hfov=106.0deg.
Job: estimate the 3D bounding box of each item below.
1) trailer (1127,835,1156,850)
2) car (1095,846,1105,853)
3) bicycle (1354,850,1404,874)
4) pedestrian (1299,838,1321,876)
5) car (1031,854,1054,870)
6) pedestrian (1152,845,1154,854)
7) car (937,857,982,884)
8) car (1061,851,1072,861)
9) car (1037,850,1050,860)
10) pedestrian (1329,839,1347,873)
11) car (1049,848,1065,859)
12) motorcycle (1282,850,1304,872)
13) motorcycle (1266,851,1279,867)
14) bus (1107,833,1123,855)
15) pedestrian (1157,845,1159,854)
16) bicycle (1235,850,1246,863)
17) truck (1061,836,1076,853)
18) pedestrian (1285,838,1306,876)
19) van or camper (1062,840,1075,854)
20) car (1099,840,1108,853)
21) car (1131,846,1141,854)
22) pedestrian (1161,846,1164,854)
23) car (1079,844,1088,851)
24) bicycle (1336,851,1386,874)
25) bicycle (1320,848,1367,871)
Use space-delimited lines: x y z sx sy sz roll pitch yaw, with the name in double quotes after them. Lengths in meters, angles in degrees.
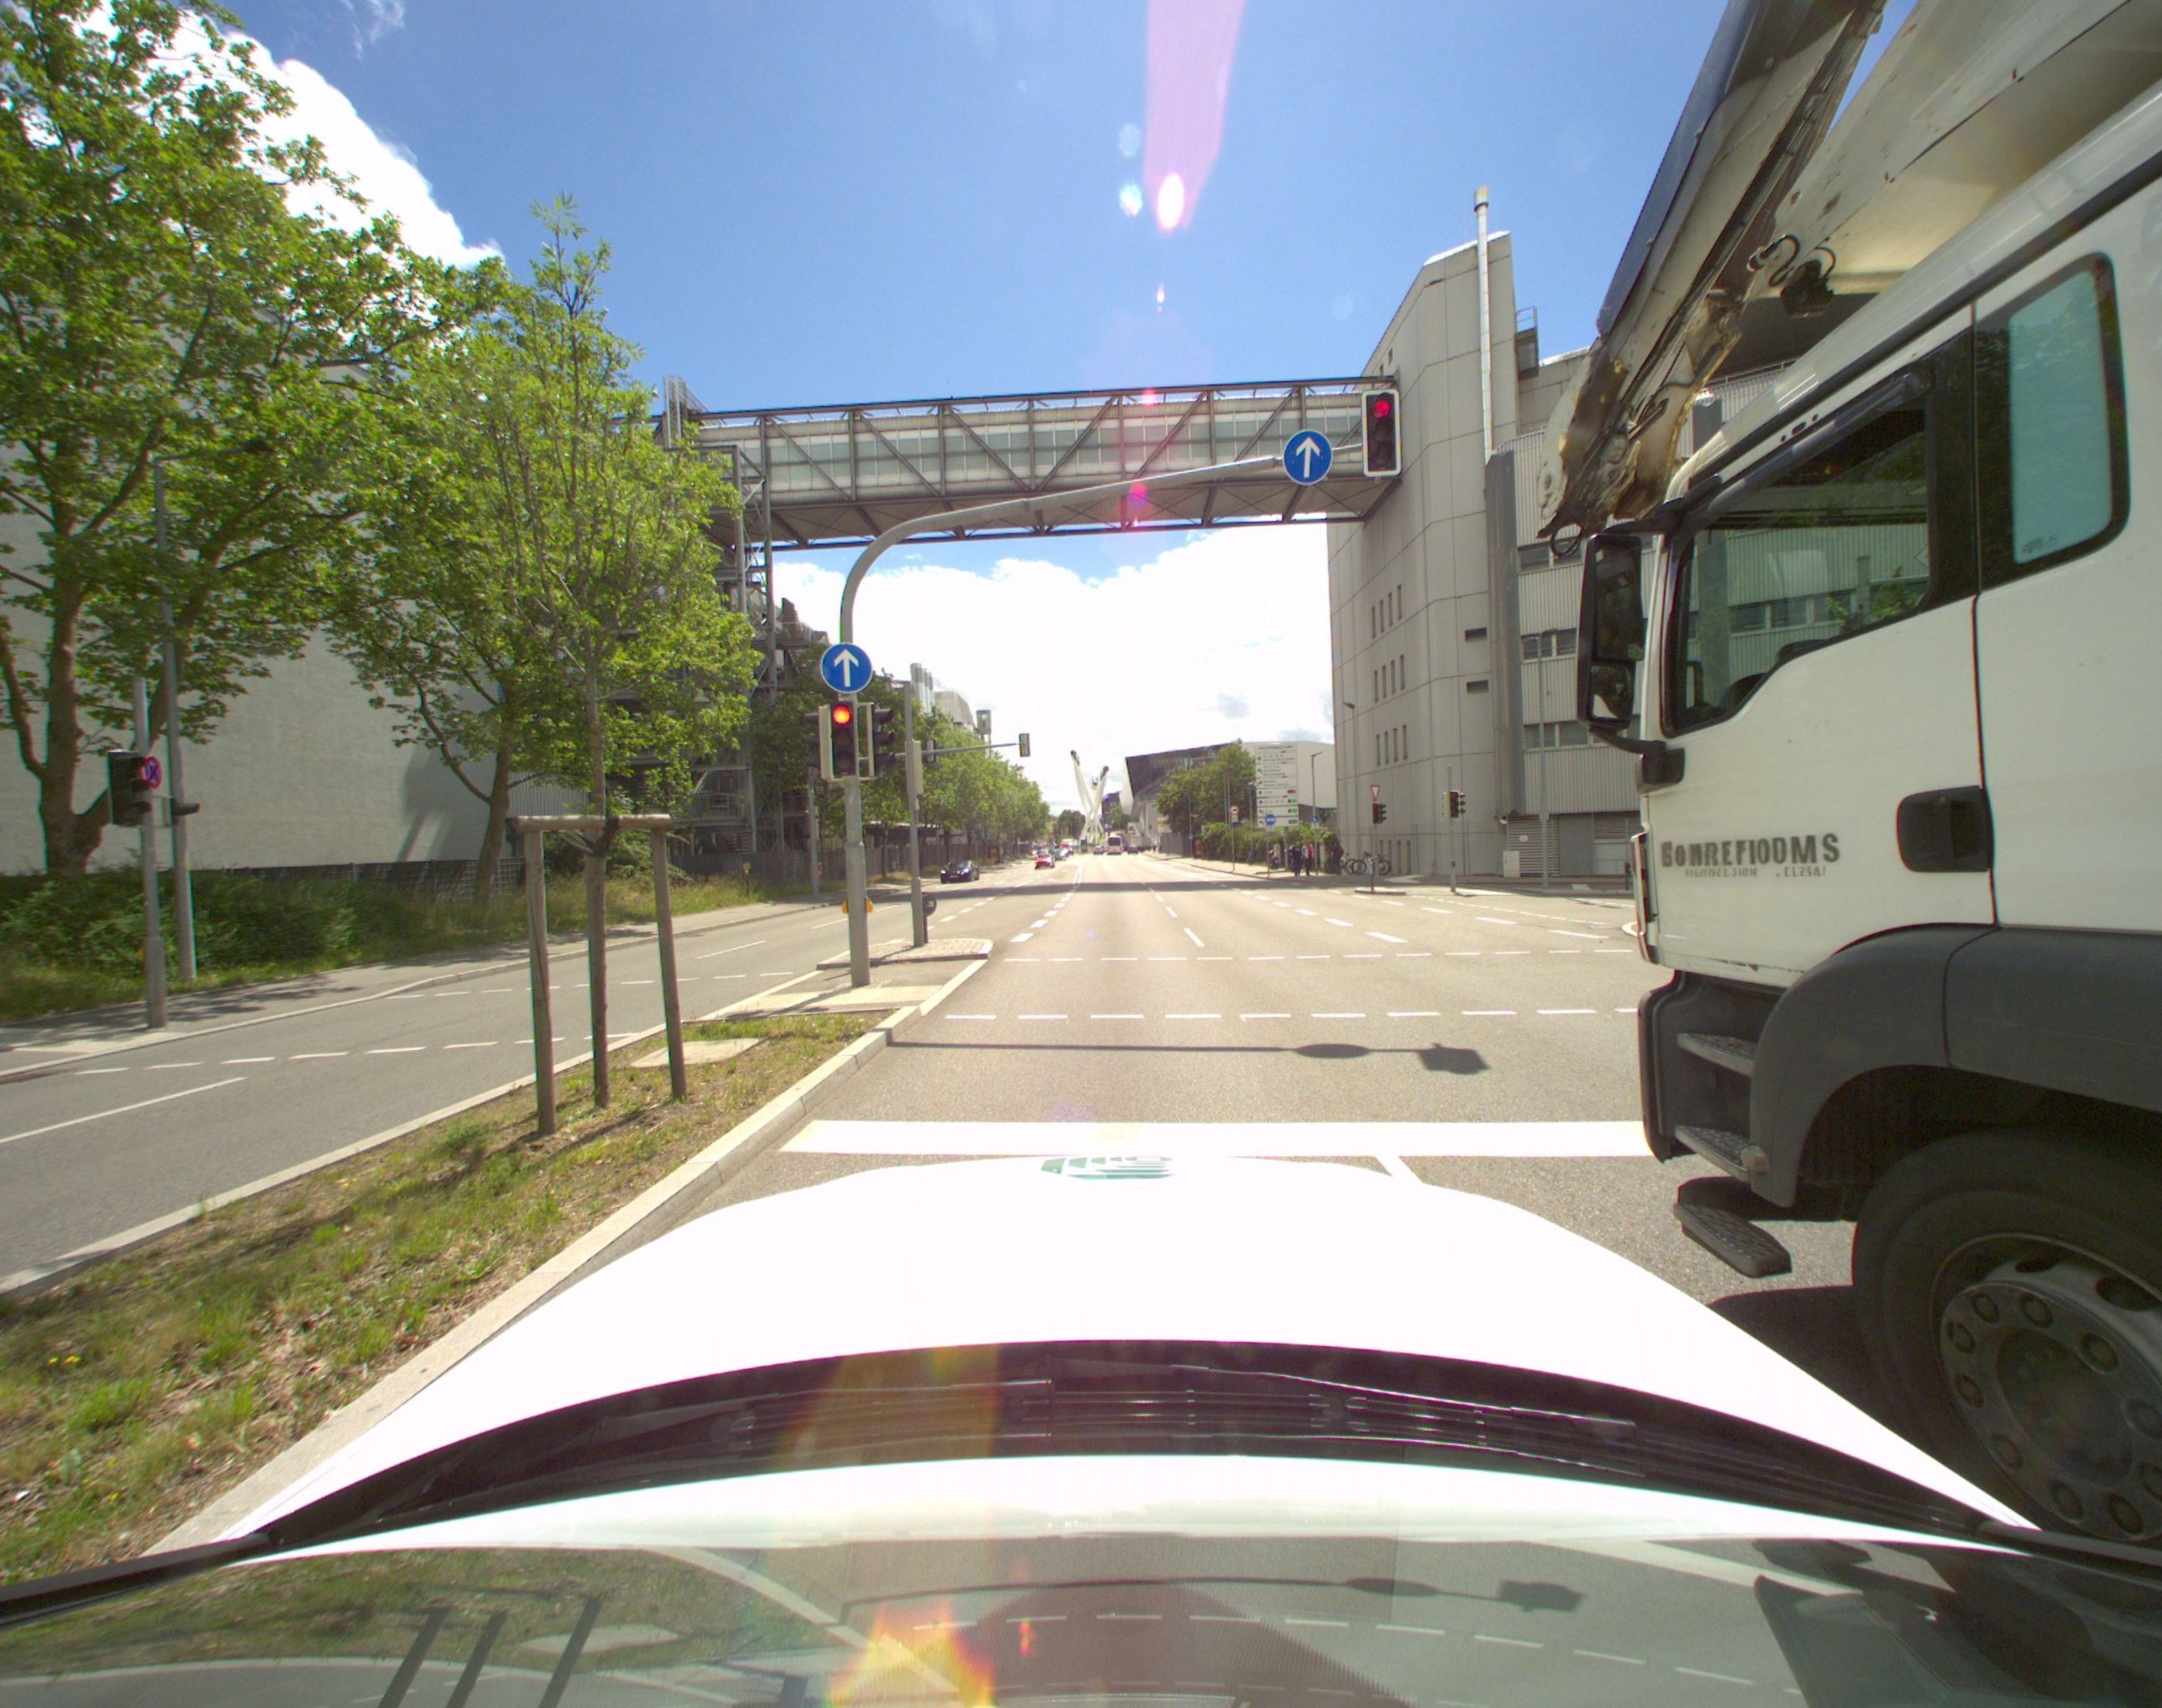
12.809 -2.353 172.092 3.291 2.995 10.429 -1 -1 21 "trailer"
3.418 -0.805 148.602 1.551 1.273 3.704 -4 0 3 "car"
13.993 0.391 38.263 2.166 1.086 0.480 -1 -1 37 "bicycle"
11.355 0.141 40.426 0.692 1.793 0.709 -4 0 -14 "pedestrian"
-3.612 0.731 77.794 1.762 1.420 3.704 -4 0 3 "car"
12.181 -0.742 137.789 0.384 1.421 0.424 0 -1 2 "pedestrian"
-7.914 1.036 53.366 1.910 1.488 4.775 -4 0 3 "car"
-2.305 0.334 131.305 1.551 1.448 3.775 -4 0 3 "car"
-5.937 0.136 129.767 1.792 1.574 4.000 -1 0 0 "car"
12.416 0.106 39.366 0.536 1.640 0.652 0 -1 -27 "pedestrian"
-3.242 -0.050 111.143 1.762 1.420 3.704 -4 0 3 "car"
11.652 0.398 44.888 0.418 1.166 1.951 0 -1 -9 "motorcycle"
12.176 0.338 51.865 0.455 1.022 1.914 0 -1 4 "motorcycle"
6.179 -1.760 147.621 2.776 3.686 6.947 0 -1 3 "bus"
12.965 -0.719 136.726 0.384 1.421 0.424 0 -1 2 "pedestrian"
12.728 0.174 65.123 0.417 1.022 1.911 0 -1 -2 "bicycle"
-2.604 -1.883 165.584 2.581 3.324 7.083 0 -1 3 "truck"
10.641 0.149 40.488 0.642 1.793 0.709 -4 0 -14 "pedestrian"
-2.206 -1.229 148.109 2.038 2.466 5.598 -1 0 3 "van or camper"
4.751 -1.635 171.388 1.837 2.624 4.000 0 -1 1 "car"
9.861 -0.669 146.257 1.551 1.273 3.704 -4 0 3 "car"
13.825 -0.712 137.754 0.384 1.421 0.424 0 -1 2 "pedestrian"
0.451 -1.200 155.918 1.551 1.273 3.704 -4 0 3 "car"
13.519 0.403 39.353 2.196 1.086 0.480 -1 -1 37 "bicycle"
13.085 0.280 40.697 2.196 1.086 0.480 -1 -1 37 "bicycle"
